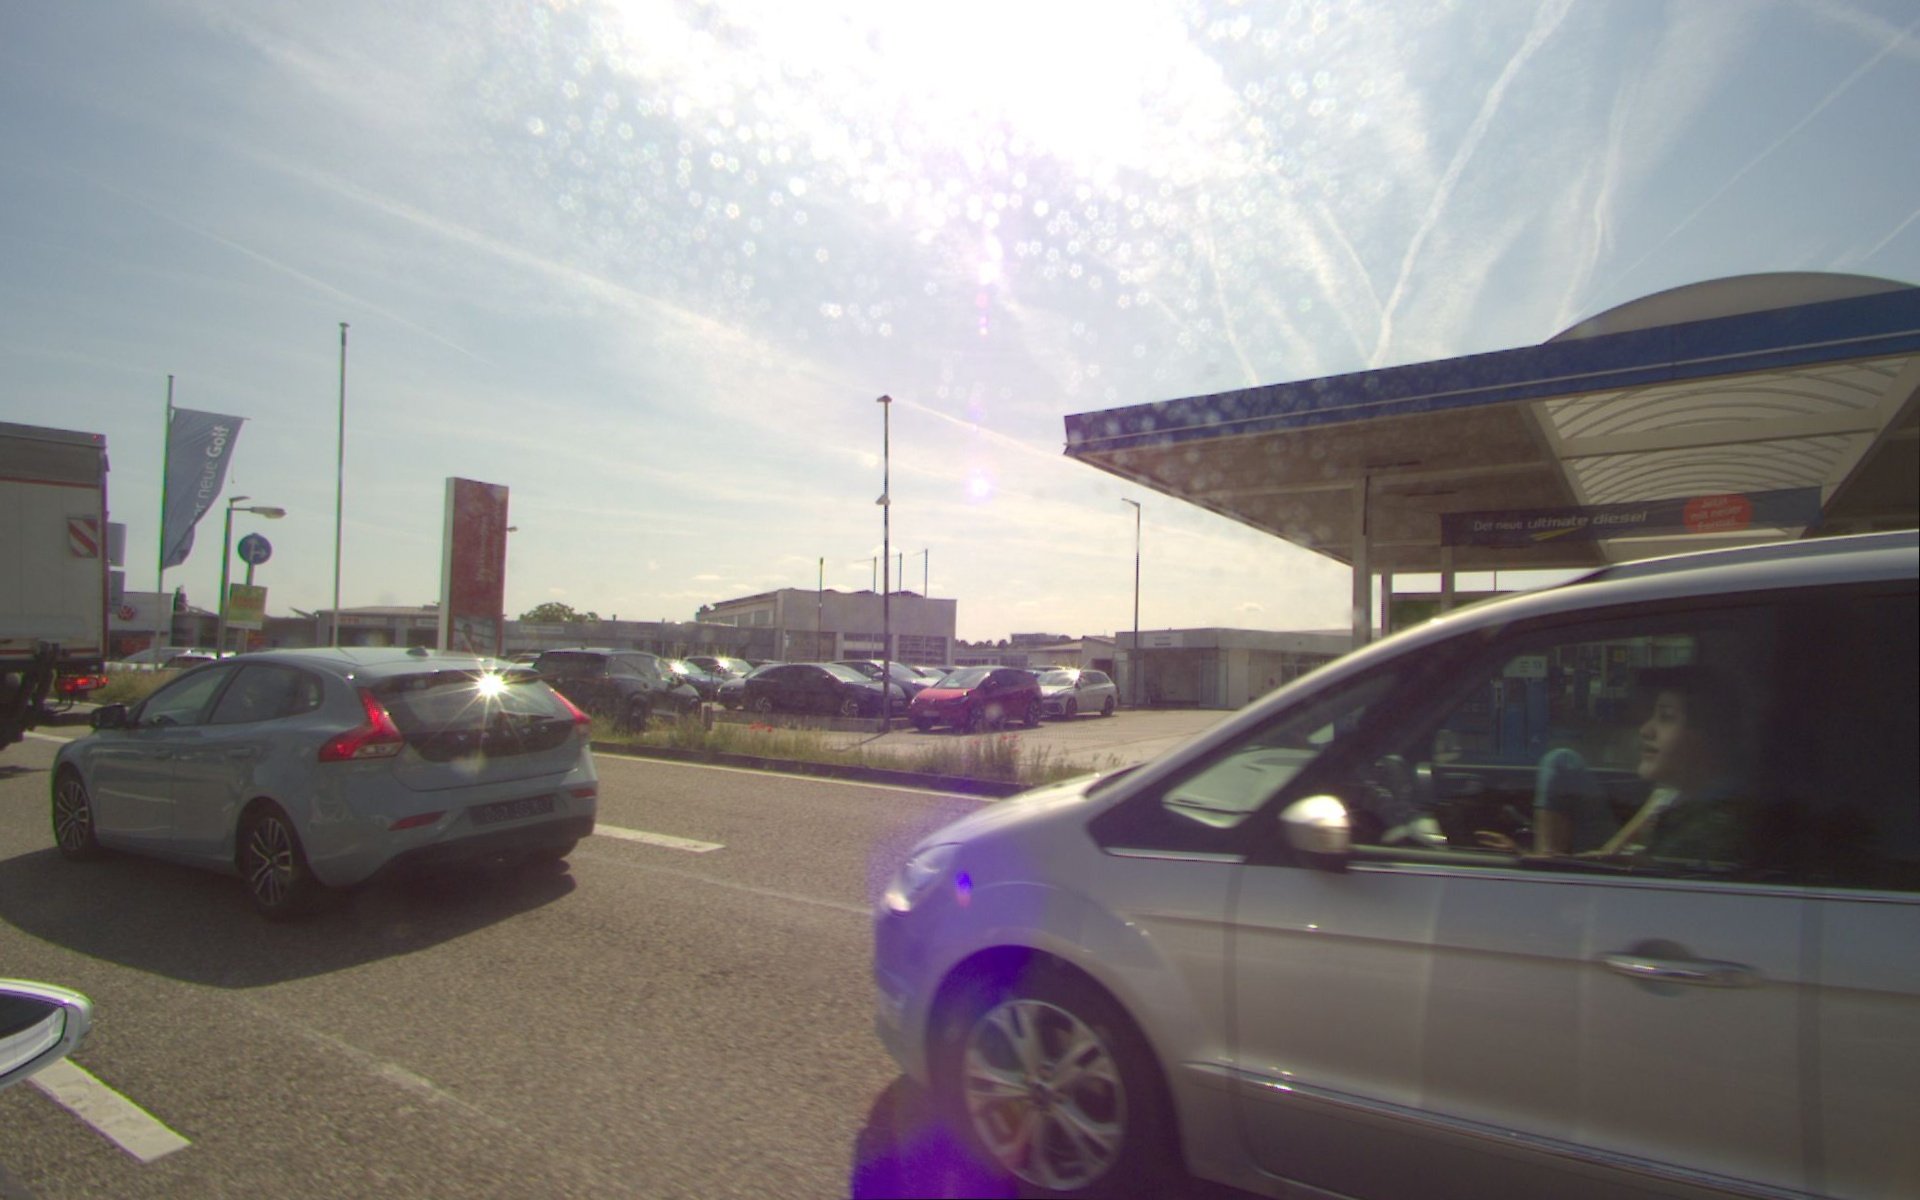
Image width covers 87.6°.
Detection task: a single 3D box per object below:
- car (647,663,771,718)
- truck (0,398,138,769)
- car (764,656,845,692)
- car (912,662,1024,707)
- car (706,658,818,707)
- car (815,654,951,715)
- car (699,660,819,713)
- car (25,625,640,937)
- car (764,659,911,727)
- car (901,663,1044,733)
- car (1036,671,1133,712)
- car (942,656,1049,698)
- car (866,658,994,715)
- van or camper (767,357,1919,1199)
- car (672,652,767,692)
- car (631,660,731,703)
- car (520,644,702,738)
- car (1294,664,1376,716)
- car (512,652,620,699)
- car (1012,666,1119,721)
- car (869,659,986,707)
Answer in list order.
[{"bbox_3d":[-7.438,2.631,29.593,3.544,1.427,1.556,-1,-2,32],"label":"car"},{"bbox_3d":[-14.809,-0.141,13.041,10.980,3.858,2.876,-1,-3,32],"label":"truck"},{"bbox_3d":[-6.876,3.241,44.124,3.646,1.427,1.551,-1,-2,41],"label":"car"},{"bbox_3d":[0.295,3.080,36.781,3.804,1.461,1.705,-1,-2,31],"label":"car"},{"bbox_3d":[-6.592,2.712,33.289,3.544,1.445,1.556,-1,-2,32],"label":"car"},{"bbox_3d":[-2.277,2.420,29.277,3.804,1.615,1.556,-1,-2,31],"label":"car"},{"bbox_3d":[-6.209,2.619,30.815,3.544,1.445,1.556,-1,-2,32],"label":"car"},{"bbox_3d":[-4.204,0.926,6.535,4.164,1.446,1.733,-1,-4,32],"label":"car"},{"bbox_3d":[-3.333,2.460,27.073,3.804,1.615,1.611,-1,-2,31],"label":"car"},{"bbox_3d":[0.398,2.445,25.711,1.783,1.591,3.894,-1,-3,35],"label":"car"},{"bbox_3d":[4.967,3.624,40.128,3.543,1.427,1.556,-1,-2,31],"label":"car"},{"bbox_3d":[1.352,2.924,38.589,3.804,1.461,1.705,-1,-2,31],"label":"car"},{"bbox_3d":[-0.959,2.669,31.463,3.804,1.615,1.611,-1,-2,31],"label":"car"},{"bbox_3d":[2.045,0.556,2.351,5.059,1.809,1.745,-1,-4,32],"label":"van or camper"},{"bbox_3d":[-9.484,2.812,39.436,3.635,1.427,1.556,-1,-2,31],"label":"car"},{"bbox_3d":[-10.299,2.956,36.927,3.542,1.427,1.557,-1,-2,30],"label":"car"},{"bbox_3d":[-5.957,1.505,17.518,1.533,1.427,3.596,0,-2,8],"label":"car"},{"bbox_3d":[12.978,3.062,34.508,1.731,1.657,3.979,-1,-4,35],"label":"car"},{"bbox_3d":[-13.192,2.503,33.503,3.543,1.427,1.556,-1,-2,31],"label":"car"},{"bbox_3d":[3.291,2.776,30.408,1.541,1.512,4.325,-1,-4,31],"label":"car"},{"bbox_3d":[-1.139,2.822,34.552,3.804,1.461,1.611,-1,-2,31],"label":"car"}]
